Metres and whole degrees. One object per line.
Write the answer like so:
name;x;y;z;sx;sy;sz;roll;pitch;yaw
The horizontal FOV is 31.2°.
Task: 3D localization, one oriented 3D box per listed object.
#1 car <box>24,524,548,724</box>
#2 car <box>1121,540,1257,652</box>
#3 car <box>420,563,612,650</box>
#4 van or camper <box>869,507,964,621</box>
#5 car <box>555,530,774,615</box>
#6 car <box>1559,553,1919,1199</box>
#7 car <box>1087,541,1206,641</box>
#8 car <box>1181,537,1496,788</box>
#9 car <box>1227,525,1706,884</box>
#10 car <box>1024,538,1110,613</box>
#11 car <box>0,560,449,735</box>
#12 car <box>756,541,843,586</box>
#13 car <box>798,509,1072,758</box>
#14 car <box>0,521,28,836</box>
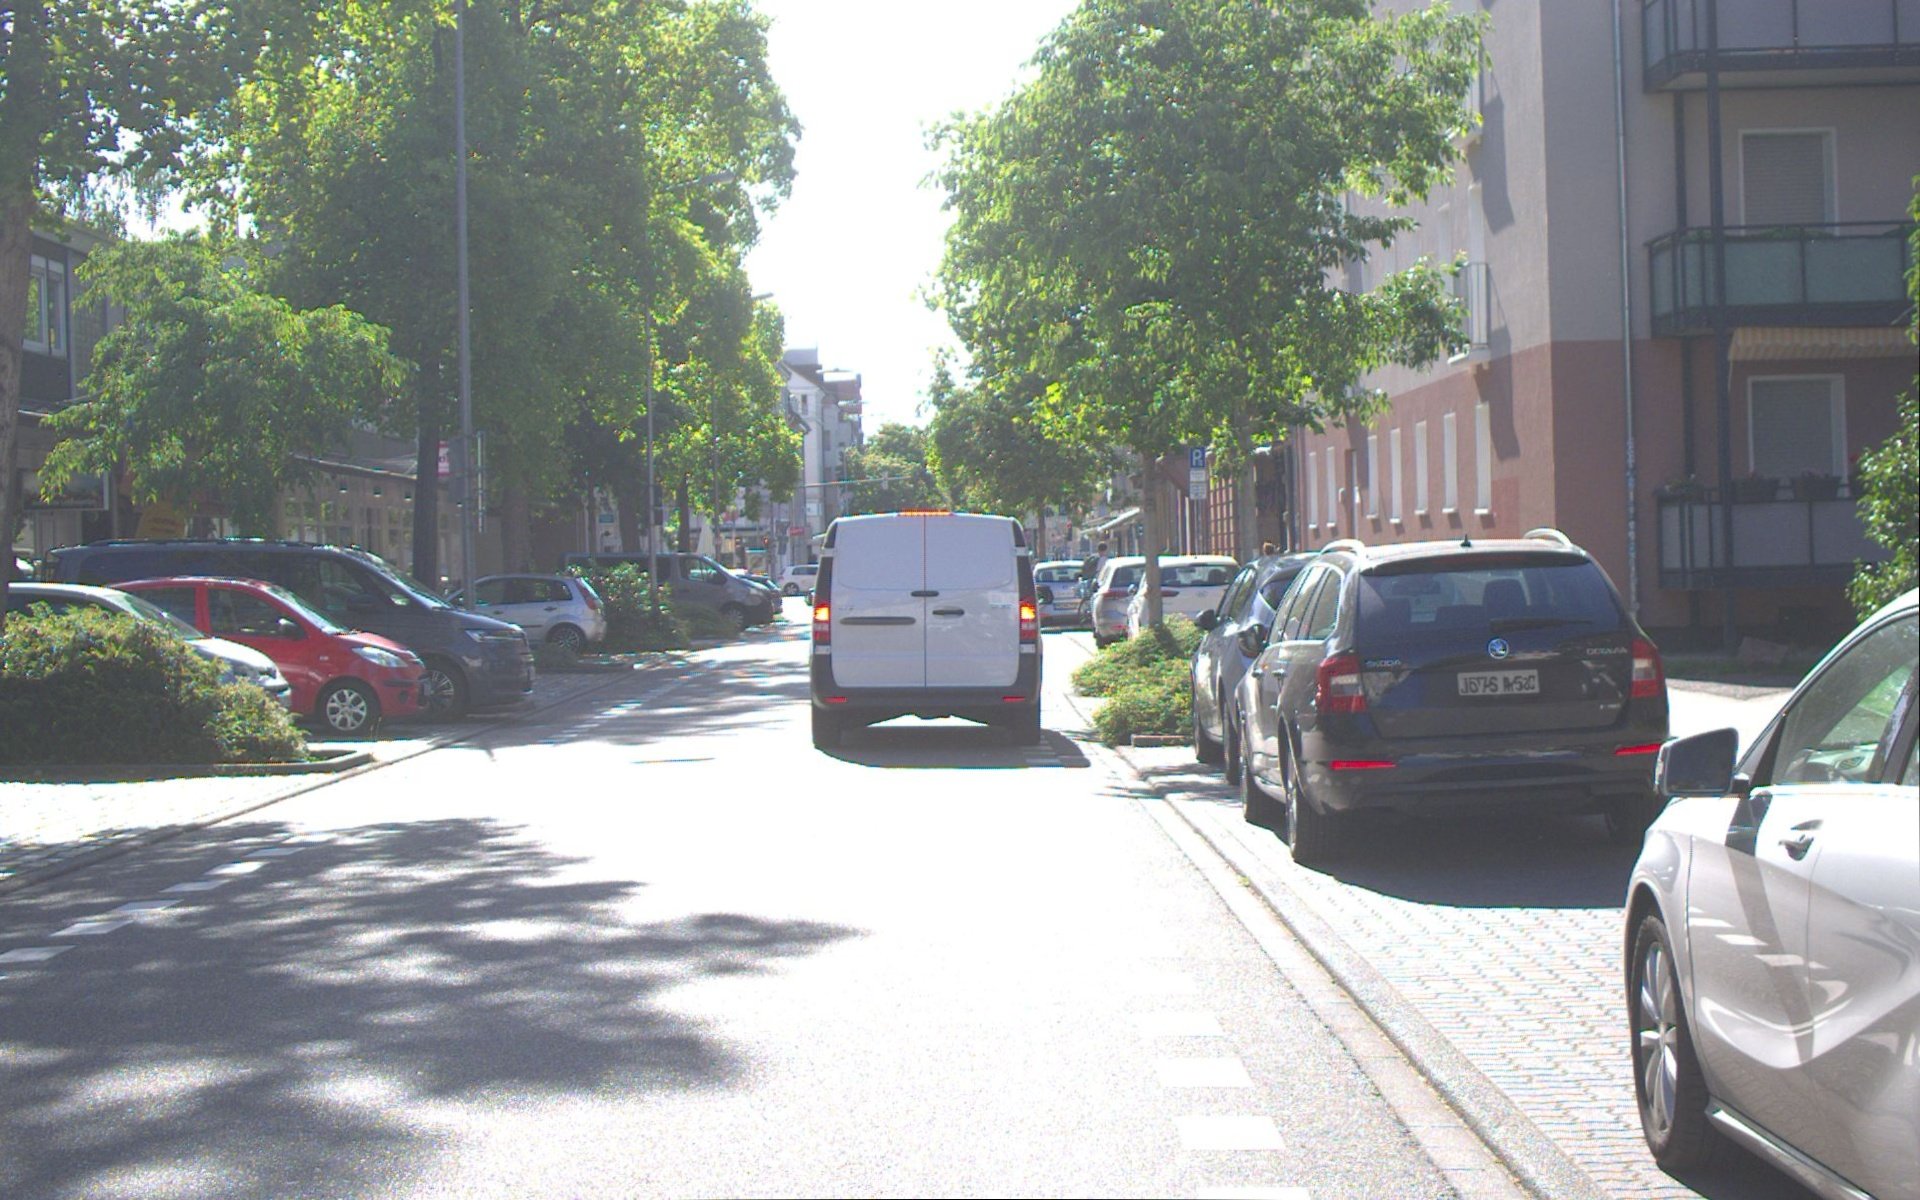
car;-7.106;0.238;36.560;5.212;1.974;1.662;-1;1;-1
car;3.296;-0.085;50.035;1.740;1.514;3.858;-2;1;1
car;-7.657;0.106;59.515;3.099;1.404;1.662;-1;1;-1
van or camper;-0.961;-0.862;79.618;1.993;2.467;5.820;-2;1;0
car;-7.245;-0.680;84.484;5.212;1.974;1.662;-1;1;-1
car;2.403;0.637;6.608;1.740;1.449;4.155;-2;1;0
car;2.987;-0.167;55.766;1.740;1.514;3.858;-2;1;1
car;2.488;0.361;23.390;1.740;1.514;3.858;-2;1;1
car;2.372;0.424;17.126;1.783;1.514;4.309;-2;1;1
car;2.265;-0.535;73.590;1.740;1.514;3.858;-2;1;1
car;-7.496;0.457;33.982;4.626;1.605;1.662;-1;0;-1
car;-7.596;-1.728;162.364;3.986;2.007;2.000;-2;1;-4
car;-0.210;0.208;29.692;2.101;1.901;5.425;-2;1;0
car;-7.793;0.500;19.231;4.626;1.798;1.837;-1;1;-1
